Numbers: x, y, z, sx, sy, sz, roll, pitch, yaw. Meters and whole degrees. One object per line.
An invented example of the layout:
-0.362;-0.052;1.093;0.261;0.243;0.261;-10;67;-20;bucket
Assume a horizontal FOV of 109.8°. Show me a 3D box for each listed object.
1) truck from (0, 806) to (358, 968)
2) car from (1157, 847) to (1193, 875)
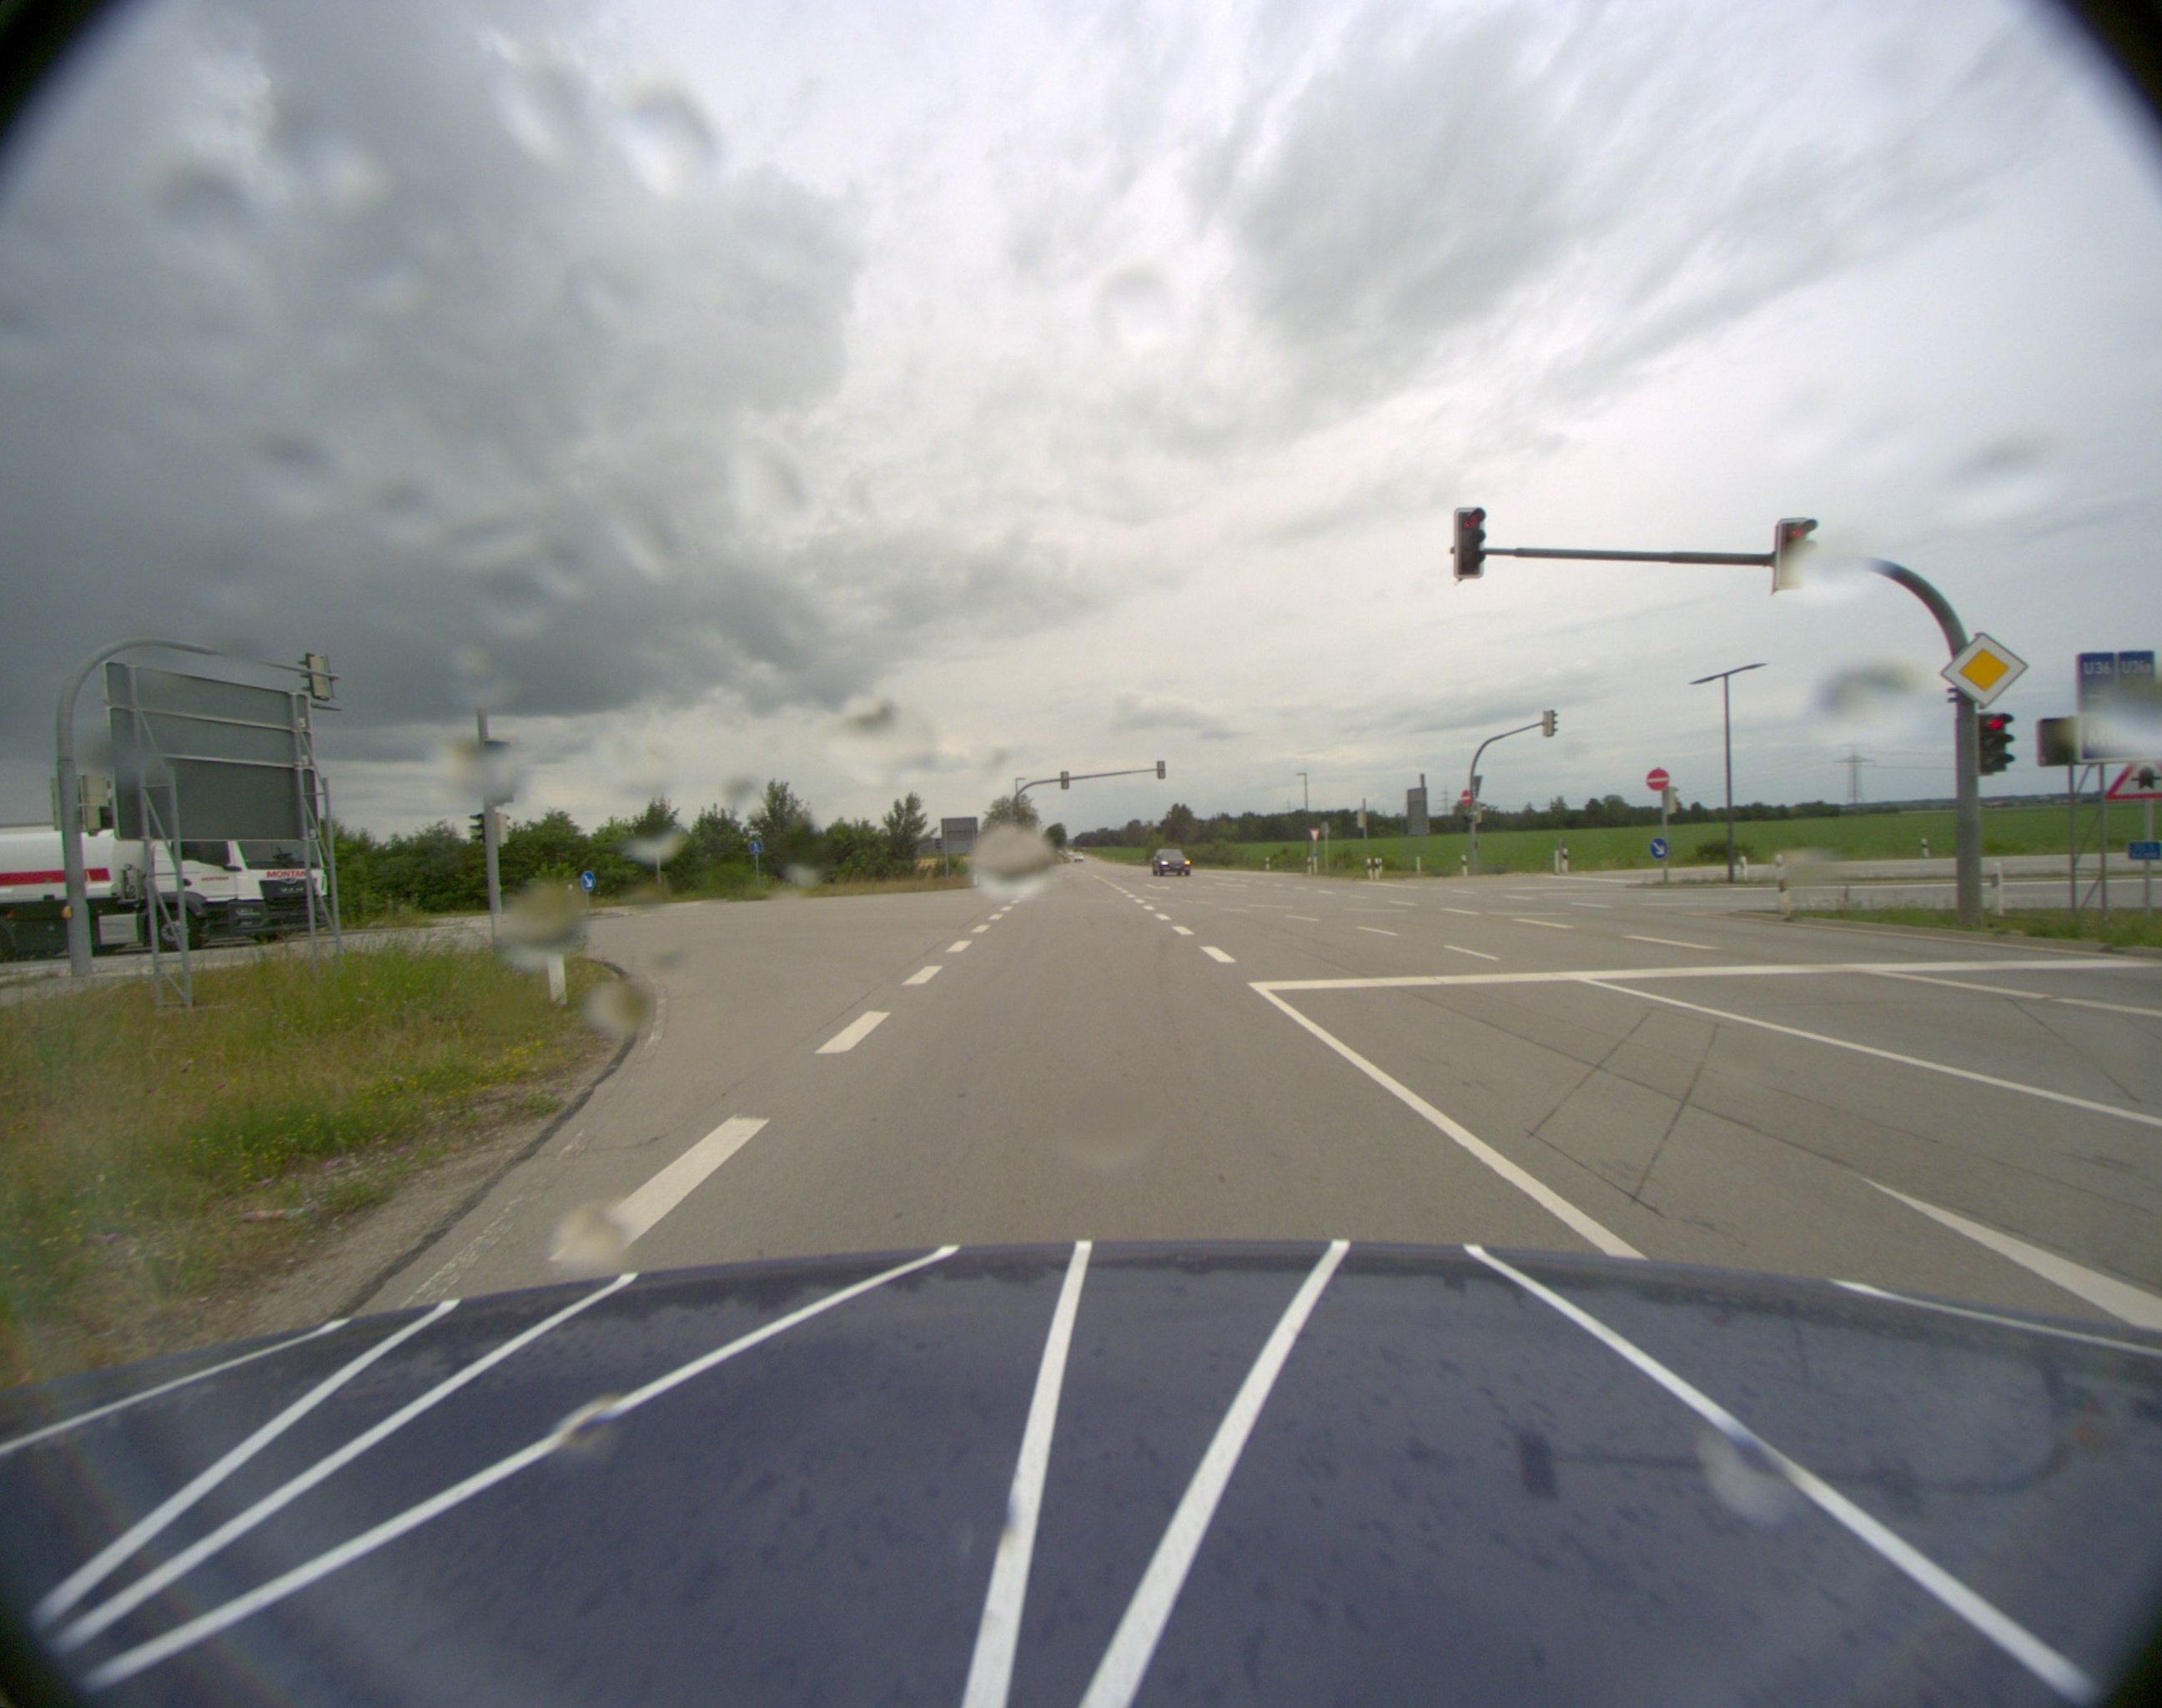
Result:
-23.638;0.800;18.488;8.647;3.389;2.877;-3;2;-5;truck
6.126;0.433;50.036;1.998;1.674;5.000;-2;0;4;car
